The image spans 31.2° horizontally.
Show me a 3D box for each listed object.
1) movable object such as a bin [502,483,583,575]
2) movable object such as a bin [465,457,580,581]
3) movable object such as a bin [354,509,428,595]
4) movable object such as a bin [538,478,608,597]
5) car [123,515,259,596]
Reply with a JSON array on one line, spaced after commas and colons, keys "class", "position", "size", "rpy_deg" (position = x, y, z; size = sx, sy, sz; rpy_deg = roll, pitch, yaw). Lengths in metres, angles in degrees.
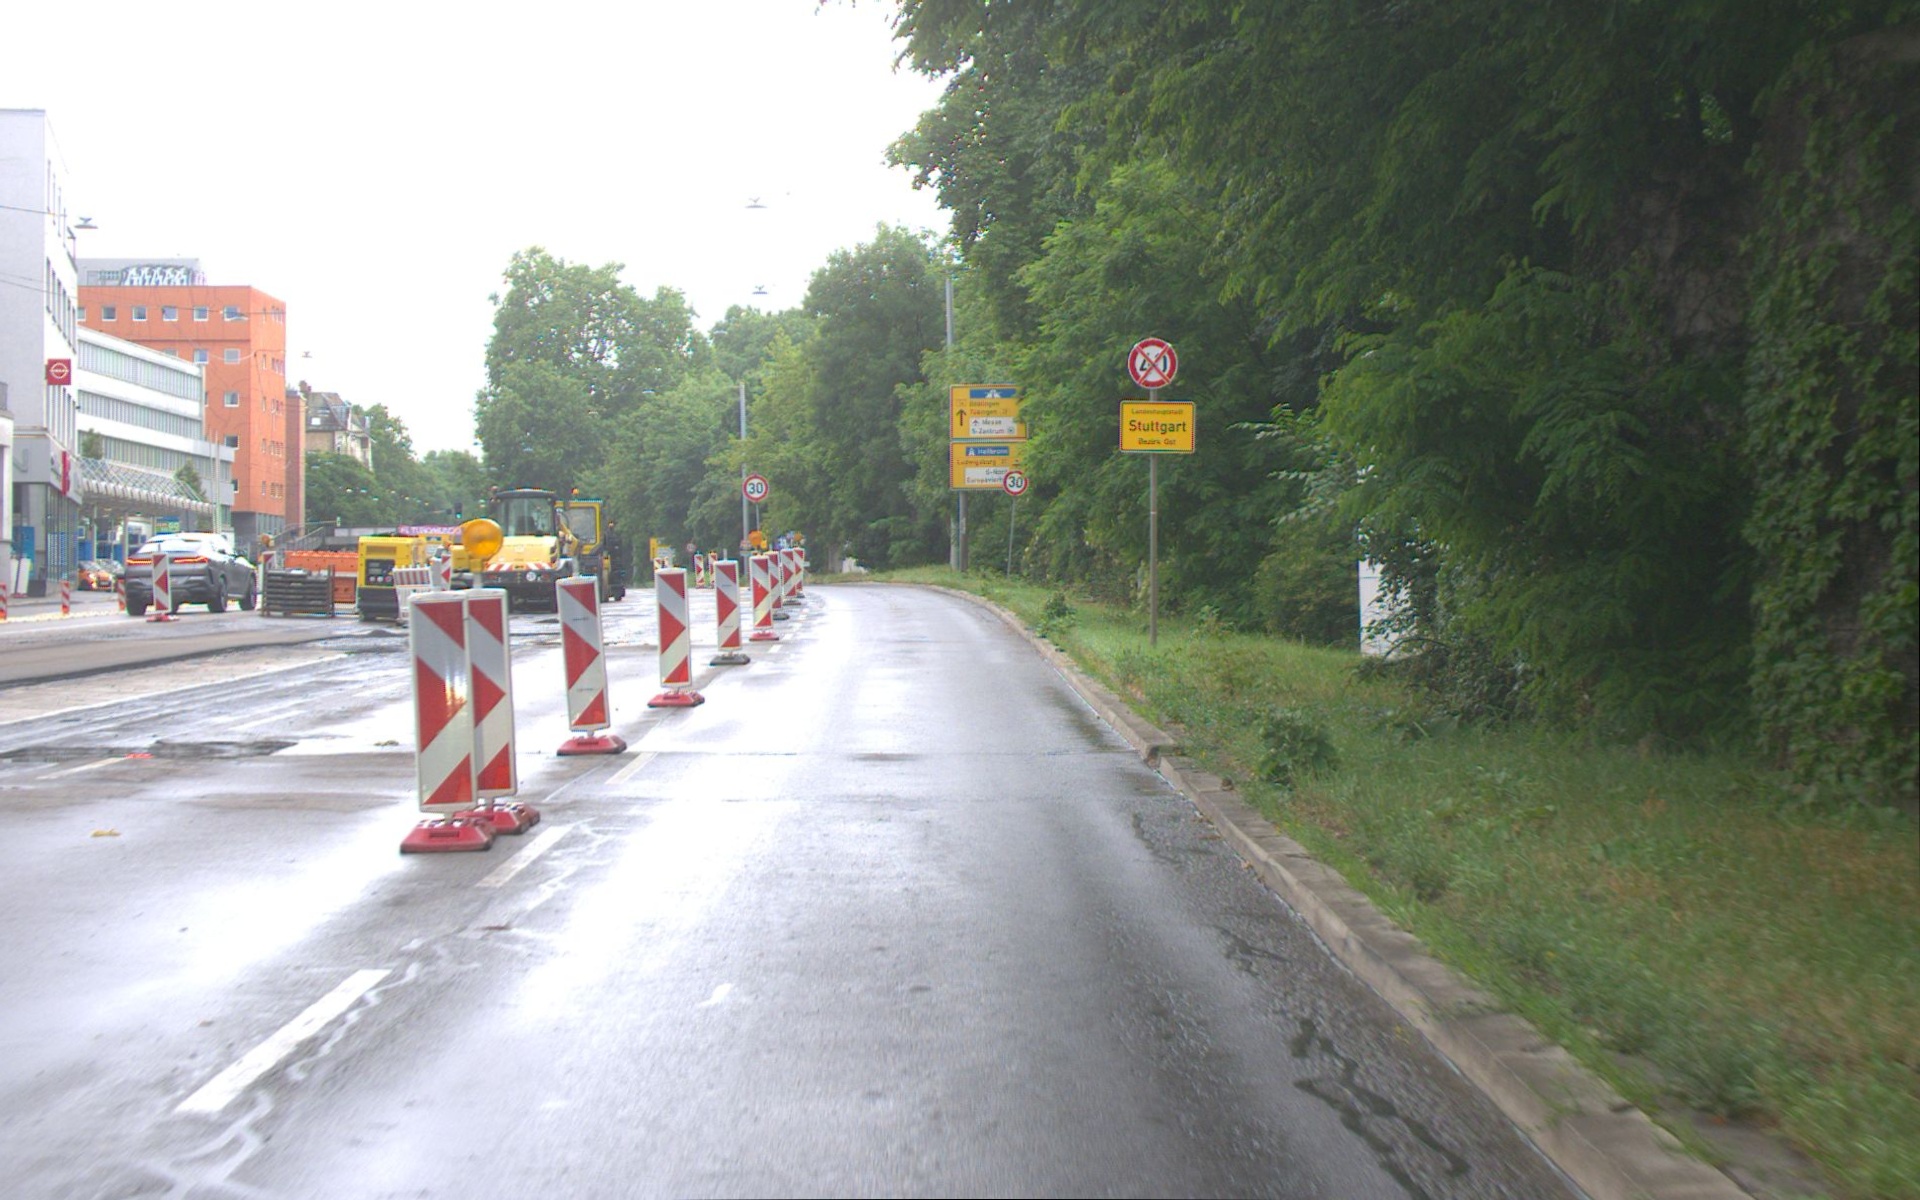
[{"class": "movable object such as a bin", "position": [-9.775, -1.678, 80.758], "size": [1.362, 2.083, 5.030], "rpy_deg": [0, 1, -1]}, {"class": "movable object such as a bin", "position": [-9.551, -1.779, 75.353], "size": [1.902, 2.600, 5.383], "rpy_deg": [0, 1, -1]}, {"class": "movable object such as a bin", "position": [-11.037, -0.942, 66.759], "size": [1.083, 1.639, 2.439], "rpy_deg": [0, 1, -2]}, {"class": "movable object such as a bin", "position": [-10.114, -1.643, 90.114], "size": [1.465, 2.998, 3.725], "rpy_deg": [-2, 1, -2]}, {"class": "car", "position": [-16.276, -0.940, 72.932], "size": [1.893, 1.644, 4.396], "rpy_deg": [1, 1, 0]}]
